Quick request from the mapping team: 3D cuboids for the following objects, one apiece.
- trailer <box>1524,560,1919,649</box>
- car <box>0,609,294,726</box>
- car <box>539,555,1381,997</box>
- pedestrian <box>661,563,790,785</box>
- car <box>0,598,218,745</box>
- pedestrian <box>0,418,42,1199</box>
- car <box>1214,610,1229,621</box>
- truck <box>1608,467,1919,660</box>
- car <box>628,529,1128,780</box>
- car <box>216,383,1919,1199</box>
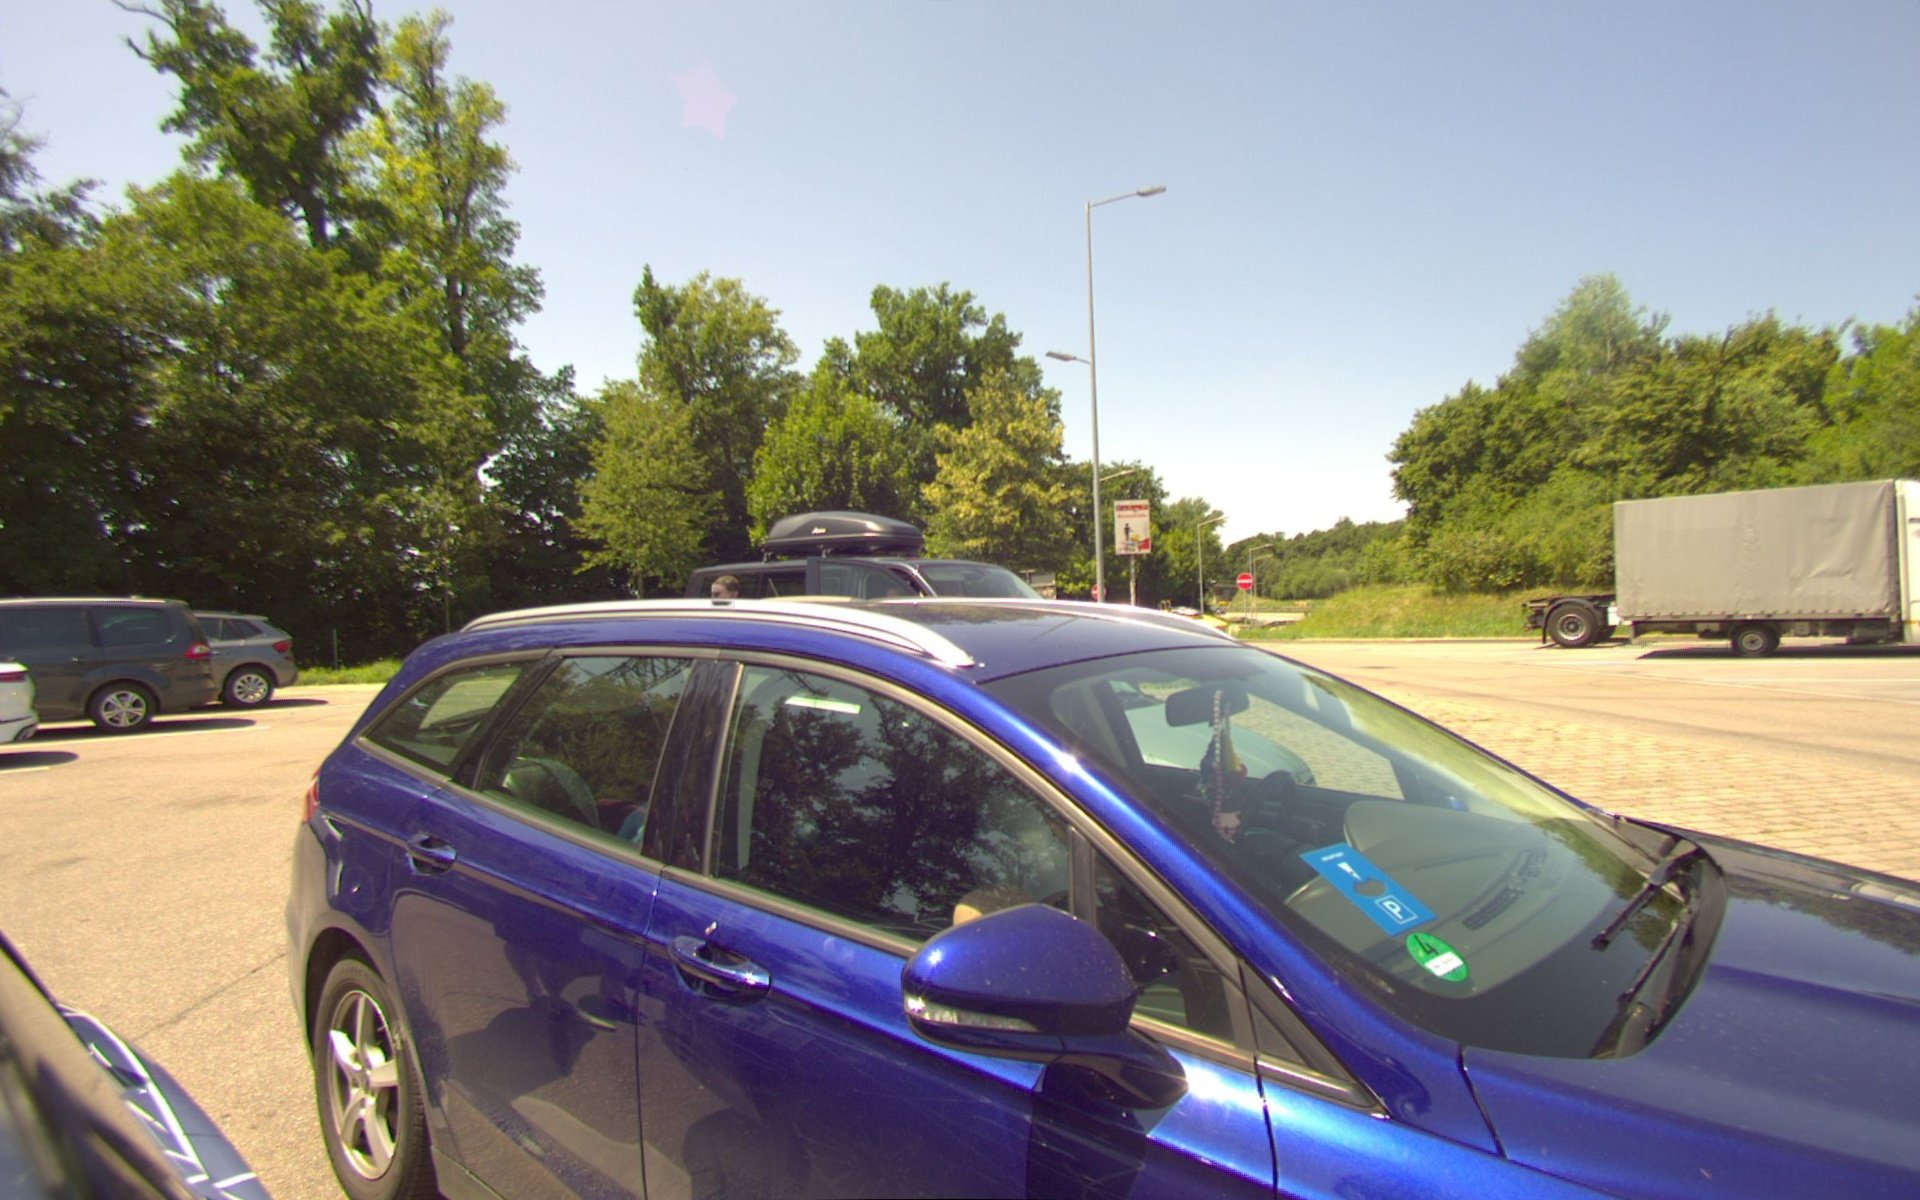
[{"bbox_3d":[17.700,0.150,23.107,8.098,1.638,2.187,-4,-1,41],"label":"trailer"},{"bbox_3d":[-12.629,0.964,15.663,3.767,1.572,1.654,-1,0,-38],"label":"car"},{"bbox_3d":[-0.328,0.664,5.609,4.569,1.517,1.735,-3,0,40],"label":"car"},{"bbox_3d":[-1.965,0.589,8.543,0.749,1.767,0.780,-1,0,20],"label":"pedestrian"},{"bbox_3d":[-11.637,0.860,12.656,3.767,1.708,1.654,-1,0,-38],"label":"car"},{"bbox_3d":[-2.734,0.516,2.242,0.905,1.919,0.816,-1,0,-33],"label":"pedestrian"},{"bbox_3d":[50.495,2.954,195.640,1.973,2.029,3.998,-1,0,2],"label":"car"},{"bbox_3d":[16.775,-0.654,19.010,7.274,3.269,2.678,-4,-1,42],"label":"truck"},{"bbox_3d":[-0.898,0.492,9.658,4.558,1.912,1.740,-3,0,32],"label":"car"},{"bbox_3d":[0.227,0.629,2.072,4.569,1.482,1.735,-3,0,40],"label":"car"}]
